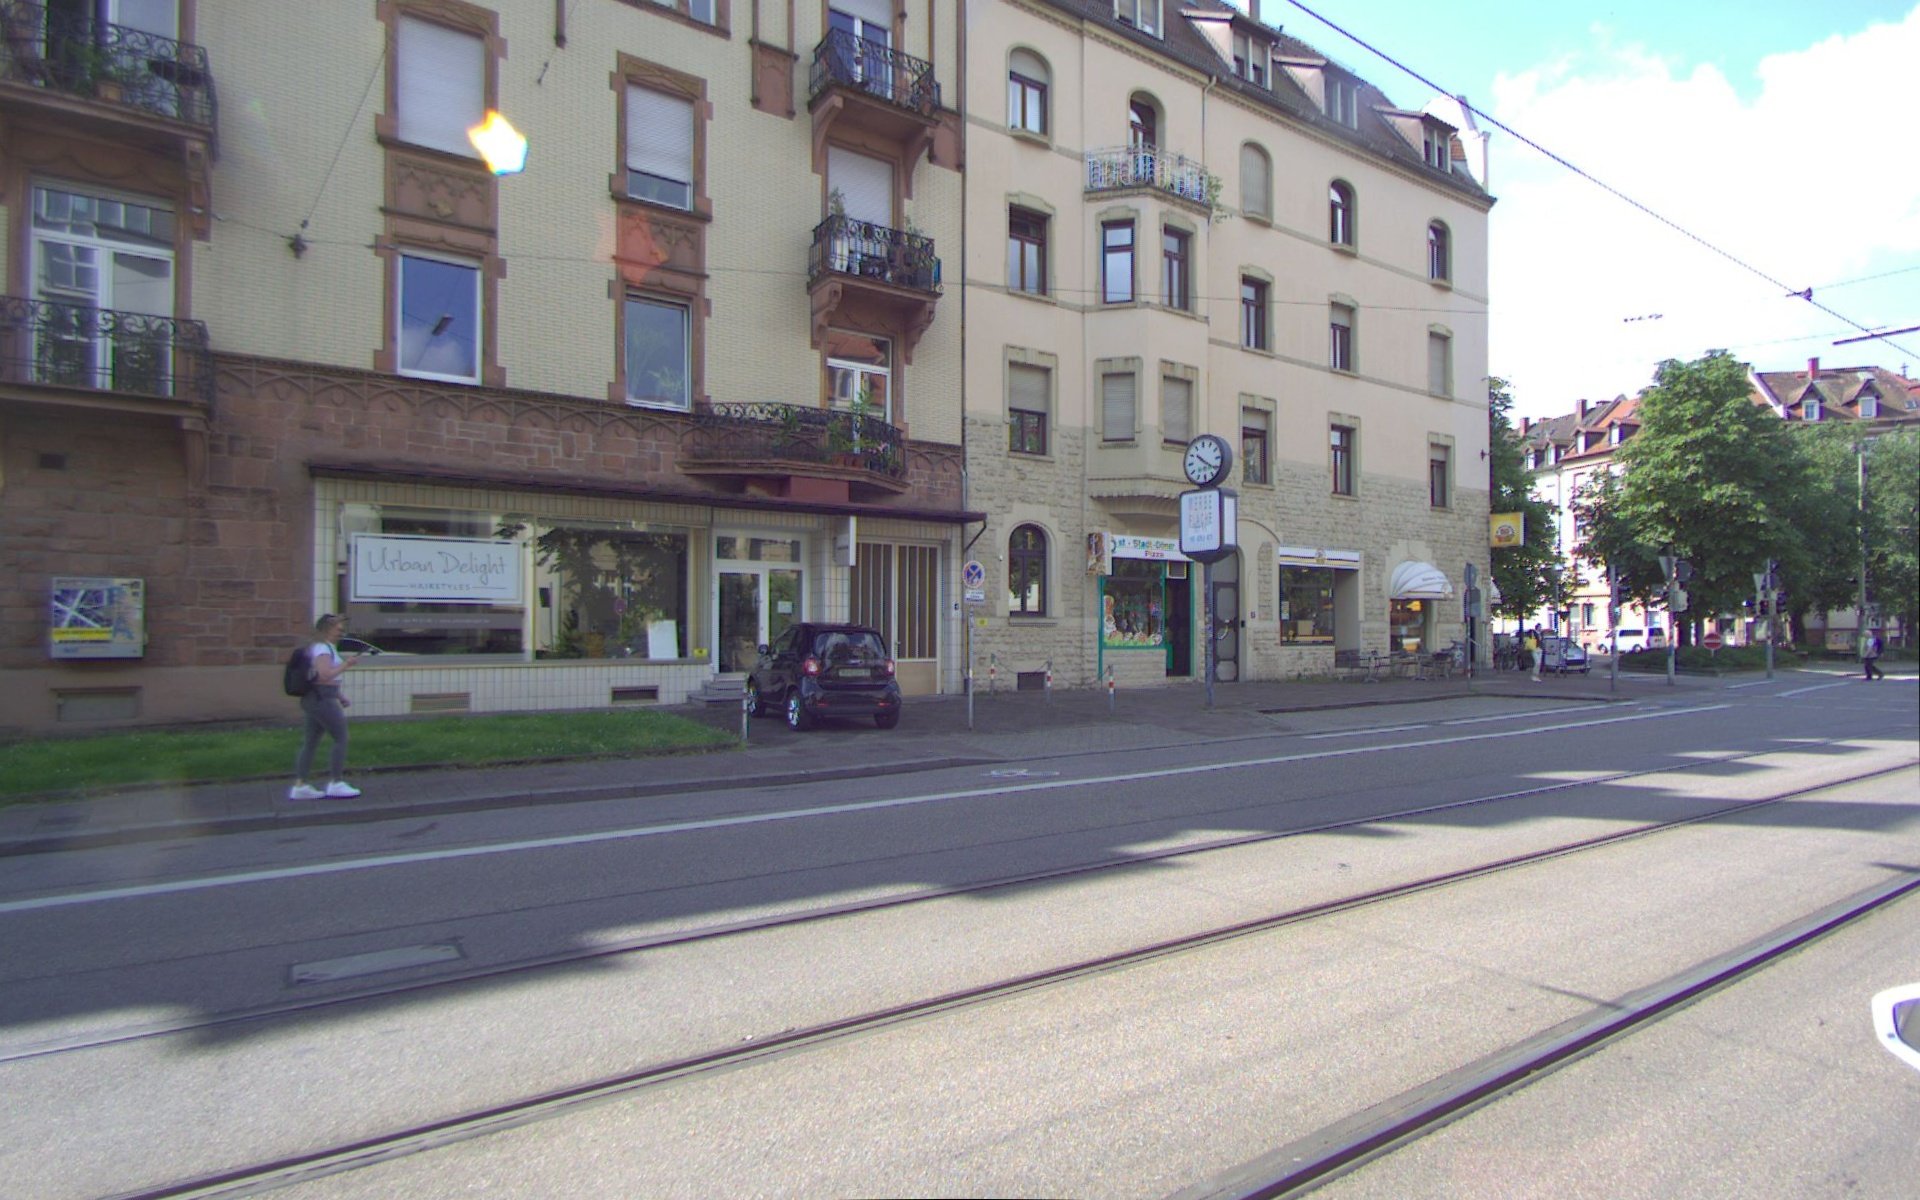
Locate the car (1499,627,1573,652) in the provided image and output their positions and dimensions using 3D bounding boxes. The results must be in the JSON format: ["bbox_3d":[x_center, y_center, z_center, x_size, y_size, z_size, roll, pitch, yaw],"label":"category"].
[{"bbox_3d":[39.250,2.675,68.498,1.976,1.617,3.970,1,-2,-29],"label":"car"}]

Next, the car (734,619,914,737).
[{"bbox_3d":[-2.220,1.121,15.741,1.716,1.505,3.162,1,1,-30],"label":"car"}]

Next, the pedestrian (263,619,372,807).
[{"bbox_3d":[-5.661,0.957,8.879,0.756,1.561,0.752,1,-2,-32],"label":"pedestrian"}]

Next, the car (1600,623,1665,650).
[{"bbox_3d":[49.902,2.719,74.633,1.962,1.929,3.997,0,-2,-5],"label":"car"}]

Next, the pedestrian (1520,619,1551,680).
[{"bbox_3d":[17.223,1.473,30.059,0.674,1.777,0.798,-1,-2,39],"label":"pedestrian"}]

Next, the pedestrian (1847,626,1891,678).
[{"bbox_3d":[30.647,1.751,33.867,0.705,1.728,0.824,0,-1,2],"label":"pedestrian"}]

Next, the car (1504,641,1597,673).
[{"bbox_3d":[23.980,2.299,40.976,1.645,1.198,4.002,0,-2,4],"label":"car"}]
